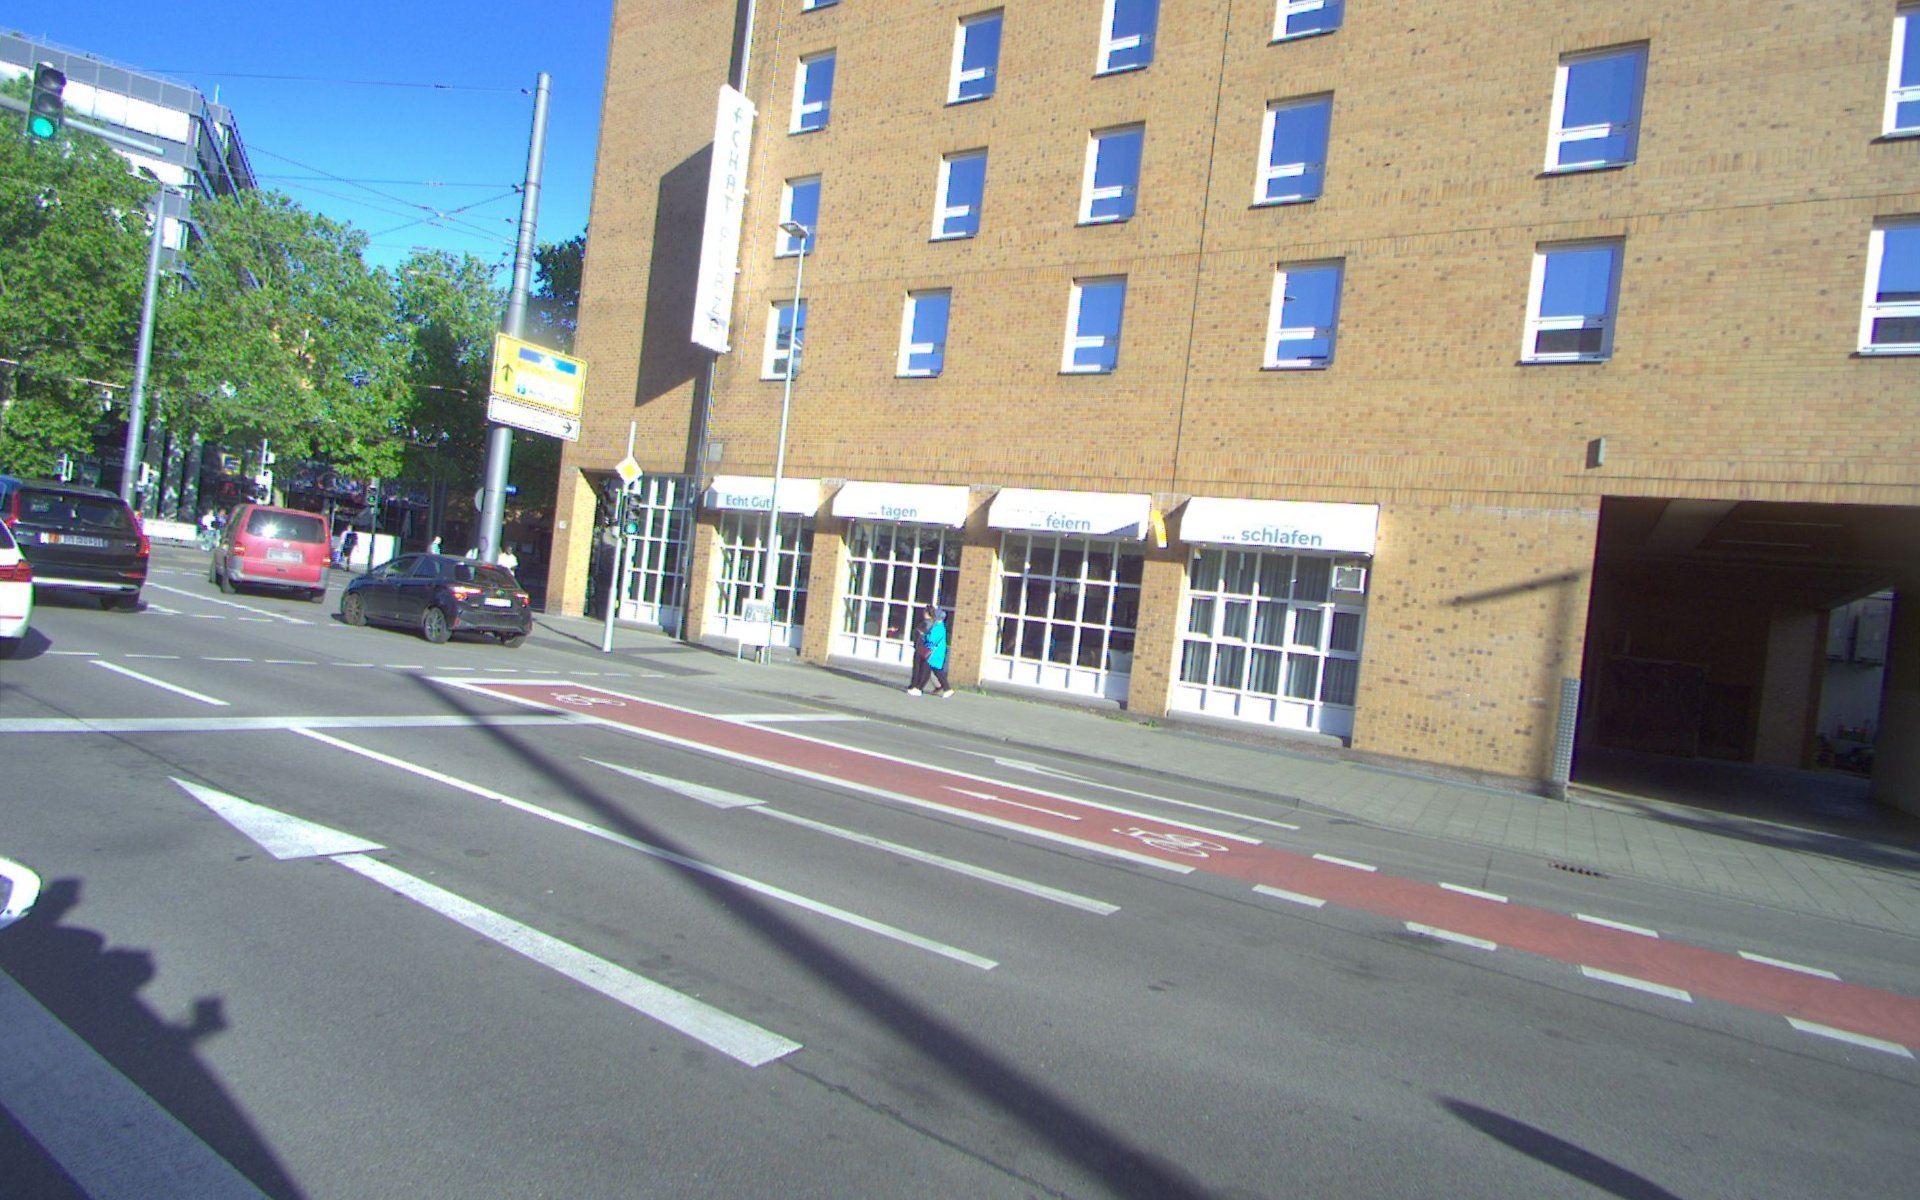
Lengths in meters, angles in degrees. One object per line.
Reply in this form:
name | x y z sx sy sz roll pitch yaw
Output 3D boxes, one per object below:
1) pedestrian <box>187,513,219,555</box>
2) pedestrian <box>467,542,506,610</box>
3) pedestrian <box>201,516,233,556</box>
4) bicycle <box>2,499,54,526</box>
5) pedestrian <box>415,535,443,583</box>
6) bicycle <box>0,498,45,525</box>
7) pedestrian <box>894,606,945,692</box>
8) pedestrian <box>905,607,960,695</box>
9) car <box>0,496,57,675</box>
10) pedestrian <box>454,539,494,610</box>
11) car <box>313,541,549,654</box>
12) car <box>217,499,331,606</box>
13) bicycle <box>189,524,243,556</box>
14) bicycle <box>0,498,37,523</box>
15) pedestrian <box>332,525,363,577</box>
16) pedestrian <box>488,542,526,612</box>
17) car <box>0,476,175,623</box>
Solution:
pedestrian | -30.625 -2.676 40.703 0.689 1.550 0.568 7 -1 10
pedestrian | -13.262 -0.660 28.178 0.726 1.813 0.510 7 -1 -19
pedestrian | -30.486 -2.613 41.280 0.689 1.496 0.568 7 -1 8
bicycle | -48.715 -4.564 52.579 0.354 1.058 1.884 6 -2 31
pedestrian | -20.008 -1.545 37.915 0.636 1.719 0.715 8 -1 -39
bicycle | -49.565 -4.675 53.035 0.354 1.058 1.885 7 -2 31
pedestrian | -0.737 0.891 18.209 0.543 1.495 0.593 6 1 32
pedestrian | -0.481 0.890 17.624 0.591 1.470 0.593 6 1 32
car | -10.113 -0.363 9.028 4.345 1.474 1.735 6 -2 32
pedestrian | -12.779 -0.663 26.456 0.670 1.804 0.593 5 3 29
car | -9.687 -0.060 18.390 3.970 1.466 1.737 7 -2 28
car | -15.744 -1.090 22.985 1.794 2.033 4.427 6 0 -37
bicycle | -36.783 -2.960 49.759 0.414 1.228 2.046 6 -2 32
bicycle | -50.538 -4.786 53.602 0.354 1.058 1.884 7 -2 31
pedestrian | -24.190 -1.920 39.729 0.787 1.920 0.809 8 -1 -39
pedestrian | -12.185 -0.612 27.047 0.673 1.802 0.591 6 1 43
car | -13.825 -0.831 14.798 4.531 1.752 1.736 6 -2 28
